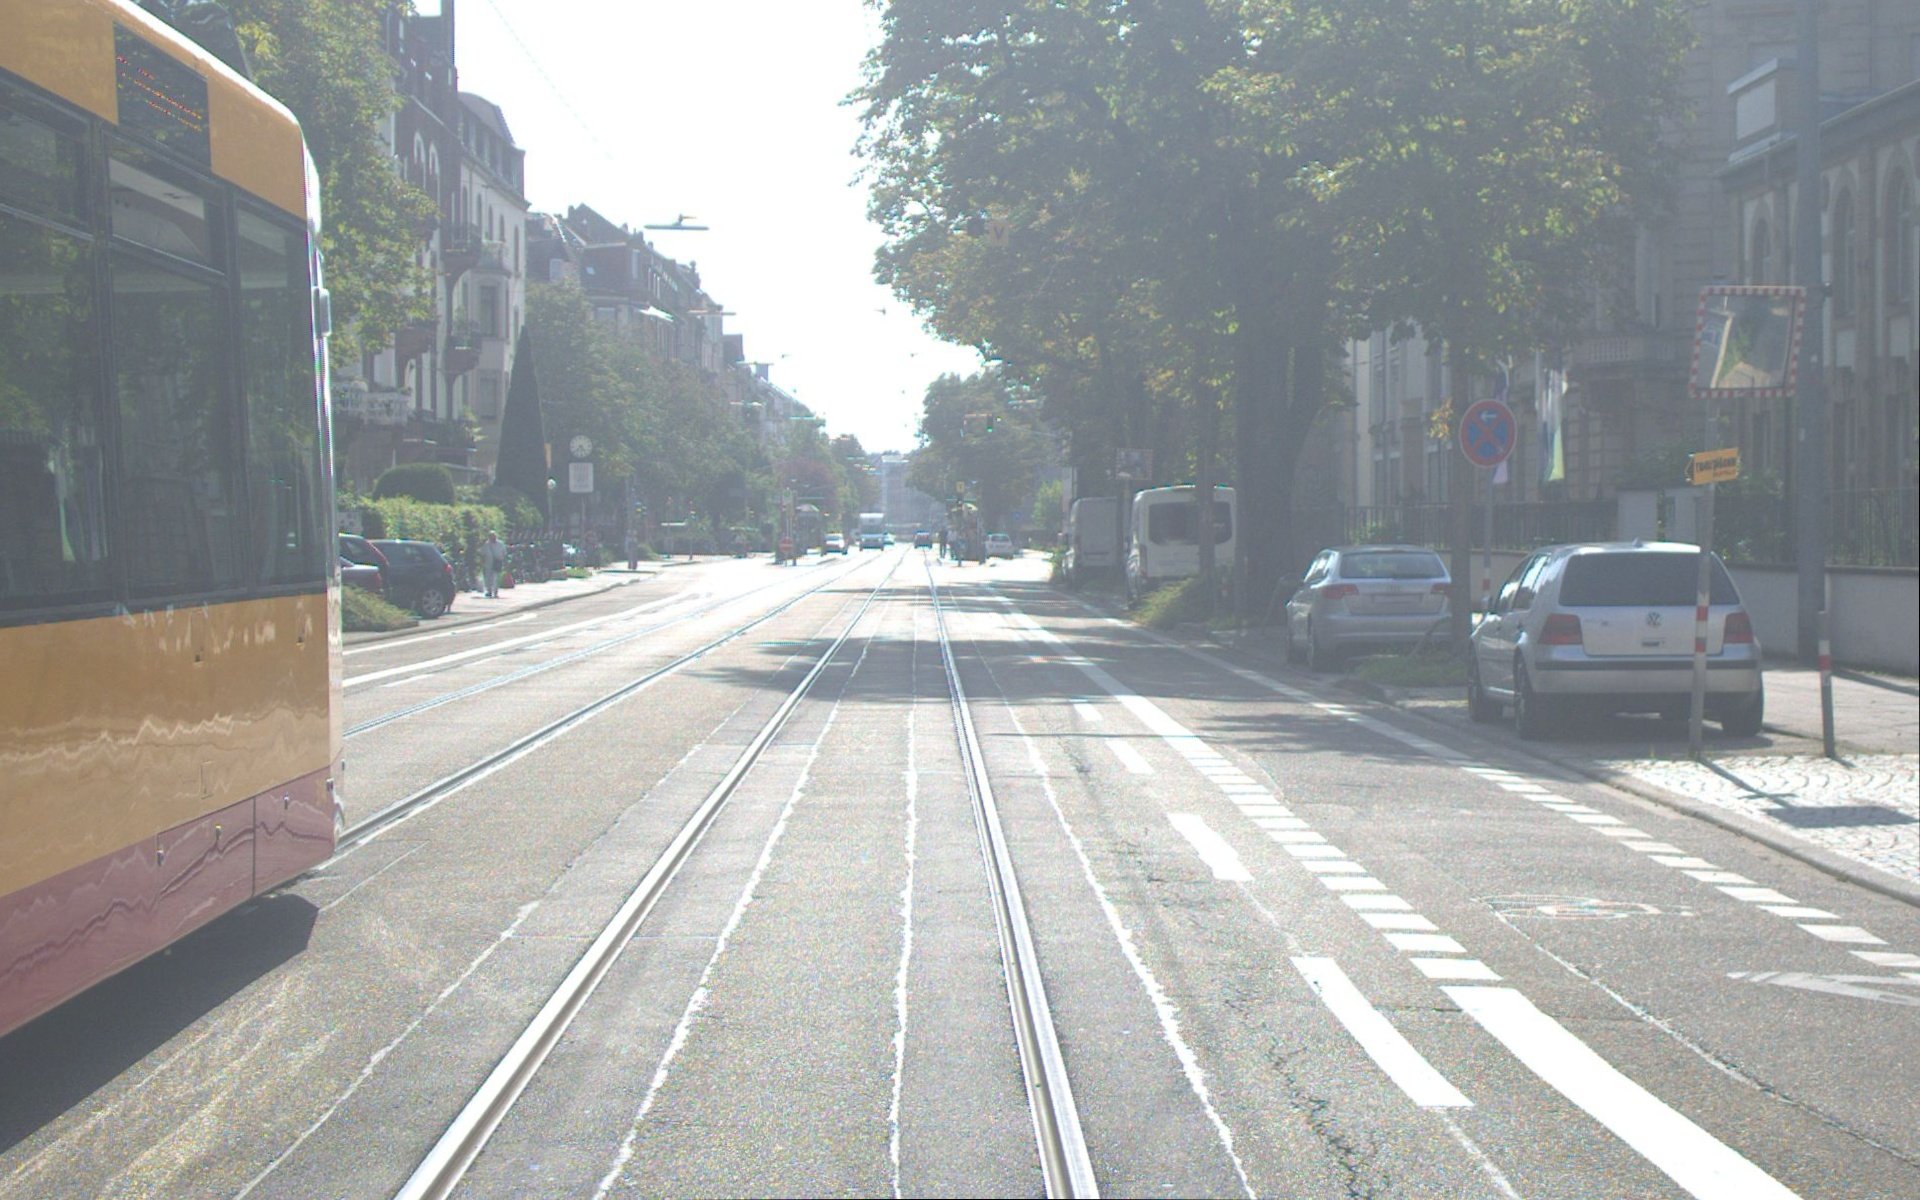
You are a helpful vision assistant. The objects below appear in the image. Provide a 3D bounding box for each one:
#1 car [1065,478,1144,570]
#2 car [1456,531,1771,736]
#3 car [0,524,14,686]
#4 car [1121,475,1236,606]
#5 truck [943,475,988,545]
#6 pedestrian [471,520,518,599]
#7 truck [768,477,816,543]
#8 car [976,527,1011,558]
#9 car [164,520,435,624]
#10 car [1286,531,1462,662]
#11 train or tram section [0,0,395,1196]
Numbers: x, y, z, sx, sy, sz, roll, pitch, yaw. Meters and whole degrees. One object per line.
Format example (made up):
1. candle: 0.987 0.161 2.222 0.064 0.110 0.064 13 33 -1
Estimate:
1. car: 3.945 -2.106 94.567 2.004 2.466 4.477 0 1 0
2. car: 4.840 0.198 25.889 1.689 1.413 3.634 0 1 0
3. car: -10.249 0.060 29.761 1.569 1.438 3.755 1 2 40
4. car: 4.266 -1.189 67.707 2.004 2.482 4.477 0 1 0
5. truck: 0.241 -4.079 156.197 1.860 3.120 4.353 0 1 -2
6. pedestrian: -10.283 -0.899 75.966 0.961 1.754 0.661 0 1 -1
7. truck: -7.616 -4.088 156.138 1.993 2.965 4.571 0 1 -1
8. car: 1.973 -3.388 202.477 1.993 1.831 4.000 0 1 1
9. car: -10.677 -0.470 55.622 3.986 1.634 1.691 -1 1 -27
10. car: 4.710 -0.071 39.472 1.595 1.413 3.634 0 1 0
11. train or tram section: -3.462 -0.123 8.023 2.680 2.852 10.545 0 1 -1
